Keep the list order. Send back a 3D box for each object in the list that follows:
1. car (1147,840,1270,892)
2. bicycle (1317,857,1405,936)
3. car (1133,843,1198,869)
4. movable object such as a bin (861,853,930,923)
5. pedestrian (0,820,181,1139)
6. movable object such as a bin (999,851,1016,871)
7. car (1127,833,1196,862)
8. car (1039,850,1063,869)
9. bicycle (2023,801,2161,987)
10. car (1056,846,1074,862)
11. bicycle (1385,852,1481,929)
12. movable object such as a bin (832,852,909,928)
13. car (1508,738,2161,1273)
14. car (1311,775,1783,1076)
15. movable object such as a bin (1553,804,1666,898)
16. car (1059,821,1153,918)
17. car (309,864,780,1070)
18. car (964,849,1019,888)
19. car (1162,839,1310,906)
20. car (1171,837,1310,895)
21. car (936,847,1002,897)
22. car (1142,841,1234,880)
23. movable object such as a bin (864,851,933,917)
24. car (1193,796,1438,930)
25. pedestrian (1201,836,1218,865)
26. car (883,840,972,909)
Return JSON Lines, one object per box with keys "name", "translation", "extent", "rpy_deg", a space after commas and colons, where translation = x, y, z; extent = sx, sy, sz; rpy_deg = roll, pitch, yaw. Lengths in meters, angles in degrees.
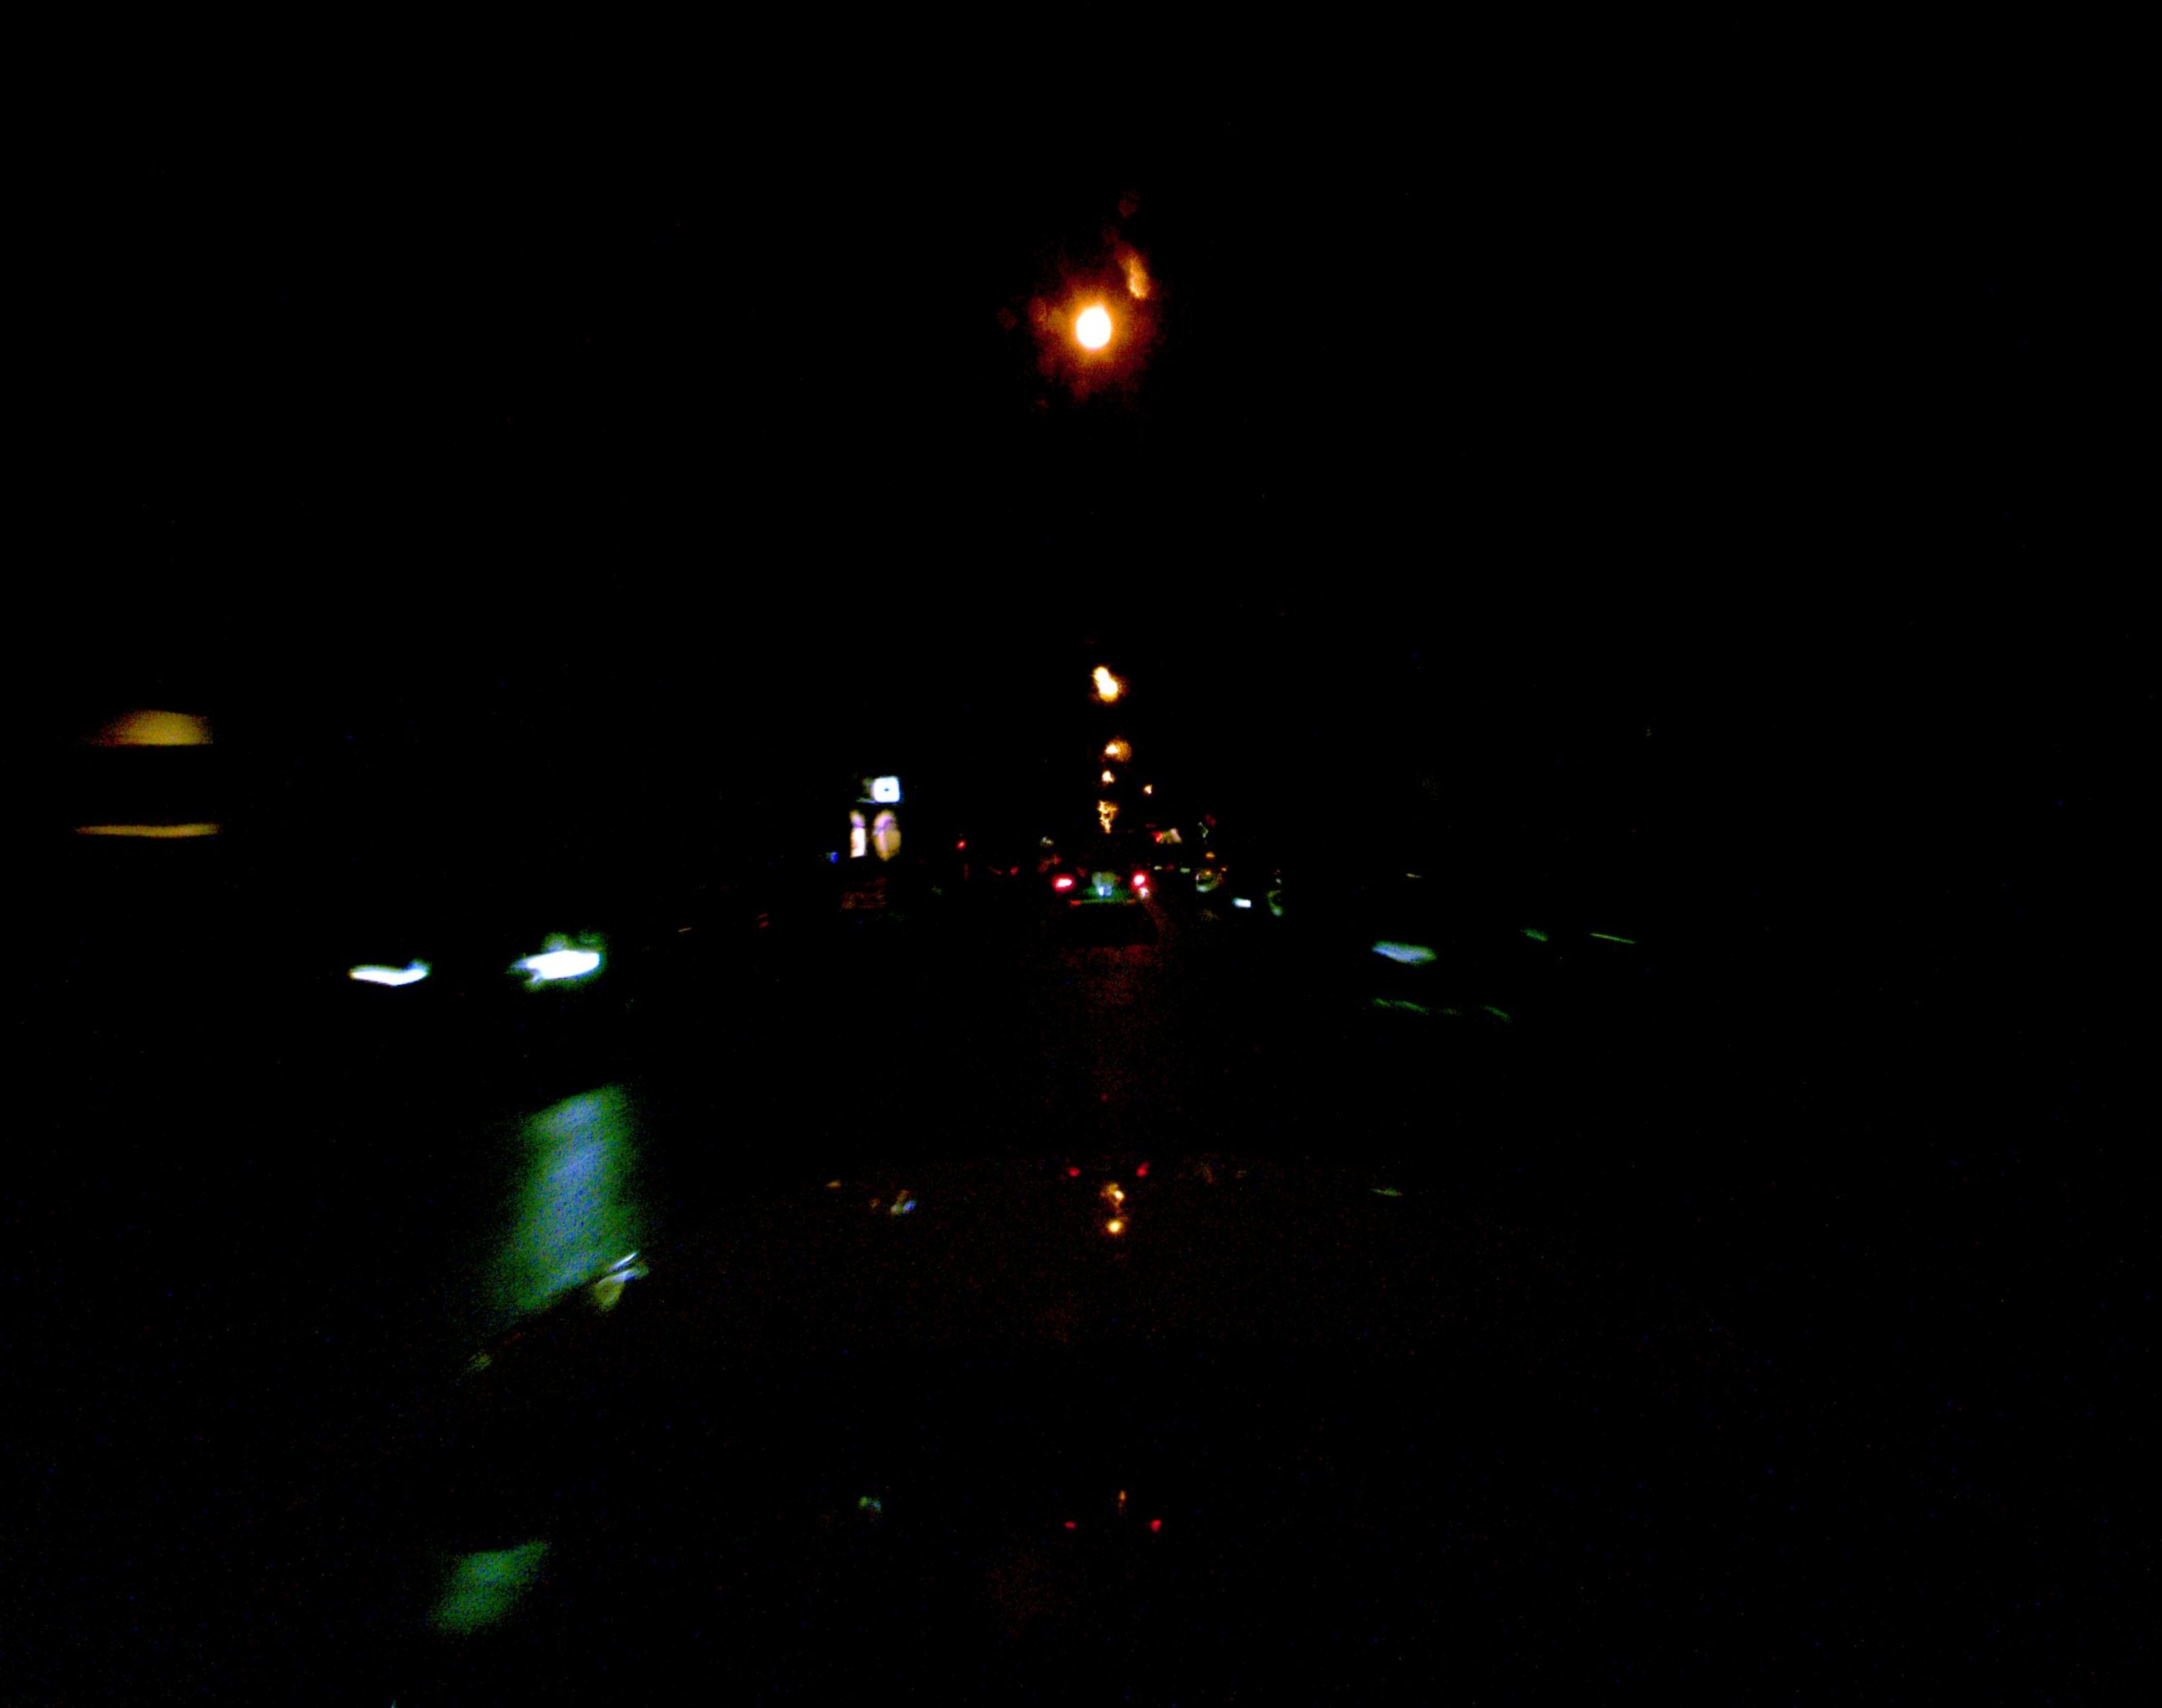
{"name": "car", "translation": [4.425, 0.390, 28.099], "extent": [4.016, 1.552, 1.786], "rpy_deg": [-3, 0, -33]}
{"name": "bicycle", "translation": [4.560, 0.652, 13.414], "extent": [0.584, 1.172, 1.859], "rpy_deg": [-1, 0, -8]}
{"name": "car", "translation": [5.729, 0.122, 55.415], "extent": [4.005, 1.492, 1.721], "rpy_deg": [-4, 0, -23]}
{"name": "movable object such as a bin", "translation": [-3.961, 0.703, 17.473], "extent": [1.160, 1.459, 1.108], "rpy_deg": [0, 0, 4]}
{"name": "pedestrian", "translation": [-6.501, 0.710, 4.956], "extent": [1.128, 1.782, 0.788], "rpy_deg": [-1, 0, 2]}
{"name": "movable object such as a bin", "translation": [-5.103, 0.494, 56.796], "extent": [0.970, 1.398, 1.134], "rpy_deg": [0, 0, 4]}
{"name": "car", "translation": [6.035, -0.493, 61.195], "extent": [4.813, 2.048, 2.047], "rpy_deg": [-2, 1, -29]}
{"name": "car", "translation": [-2.455, 0.447, 66.559], "extent": [1.580, 1.482, 3.796], "rpy_deg": [-1, 0, 3]}
{"name": "bicycle", "translation": [8.826, 0.237, 6.277], "extent": [1.960, 1.335, 0.784], "rpy_deg": [-5, 0, 8]}
{"name": "car", "translation": [-1.637, 0.009, 82.302], "extent": [1.808, 1.557, 4.074], "rpy_deg": [-1, 0, -2]}
{"name": "bicycle", "translation": [5.820, 0.558, 13.591], "extent": [0.584, 1.172, 1.859], "rpy_deg": [-1, 0, -8]}
{"name": "movable object such as a bin", "translation": [-4.169, 0.681, 16.230], "extent": [1.203, 1.459, 1.108], "rpy_deg": [0, 0, 4]}
{"name": "car", "translation": [4.200, 0.462, 4.363], "extent": [3.788, 1.728, 1.700], "rpy_deg": [-1, 0, -32]}
{"name": "car", "translation": [4.121, 0.360, 6.959], "extent": [4.265, 1.858, 1.698], "rpy_deg": [-4, 0, -34]}
{"name": "movable object such as a bin", "translation": [9.191, -0.052, 14.227], "extent": [1.204, 1.451, 0.999], "rpy_deg": [-6, 0, 2]}
{"name": "car", "translation": [0.613, 0.343, 19.525], "extent": [1.986, 2.050, 4.002], "rpy_deg": [-1, 0, 2]}
{"name": "car", "translation": [-4.609, 0.832, 7.918], "extent": [1.648, 1.359, 4.224], "rpy_deg": [-1, 0, 2]}
{"name": "car", "translation": [-3.623, 0.546, 33.643], "extent": [1.680, 1.455, 4.317], "rpy_deg": [0, 1, 2]}
{"name": "car", "translation": [4.147, 0.460, 21.656], "extent": [3.663, 1.542, 1.546], "rpy_deg": [-3, 0, -28]}
{"name": "car", "translation": [4.973, 0.361, 25.273], "extent": [4.018, 1.552, 1.978], "rpy_deg": [-3, 0, -36]}
{"name": "car", "translation": [-3.796, 0.559, 28.101], "extent": [1.597, 1.552, 4.027], "rpy_deg": [0, 1, 2]}
{"name": "car", "translation": [4.628, 0.259, 35.029], "extent": [3.697, 1.460, 1.588], "rpy_deg": [-3, 0, -32]}
{"name": "movable object such as a bin", "translation": [-4.169, 0.661, 18.716], "extent": [1.257, 1.459, 1.152], "rpy_deg": [0, 0, 4]}
{"name": "car", "translation": [4.649, 0.082, 15.850], "extent": [4.745, 2.248, 1.926], "rpy_deg": [-3, 0, -35]}
{"name": "pedestrian", "translation": [8.679, -0.230, 55.144], "extent": [0.866, 1.855, 0.993], "rpy_deg": [-4, 0, -1]}
{"name": "car", "translation": [-4.100, 0.508, 22.269], "extent": [1.597, 1.706, 3.723], "rpy_deg": [-1, 0, 2]}
